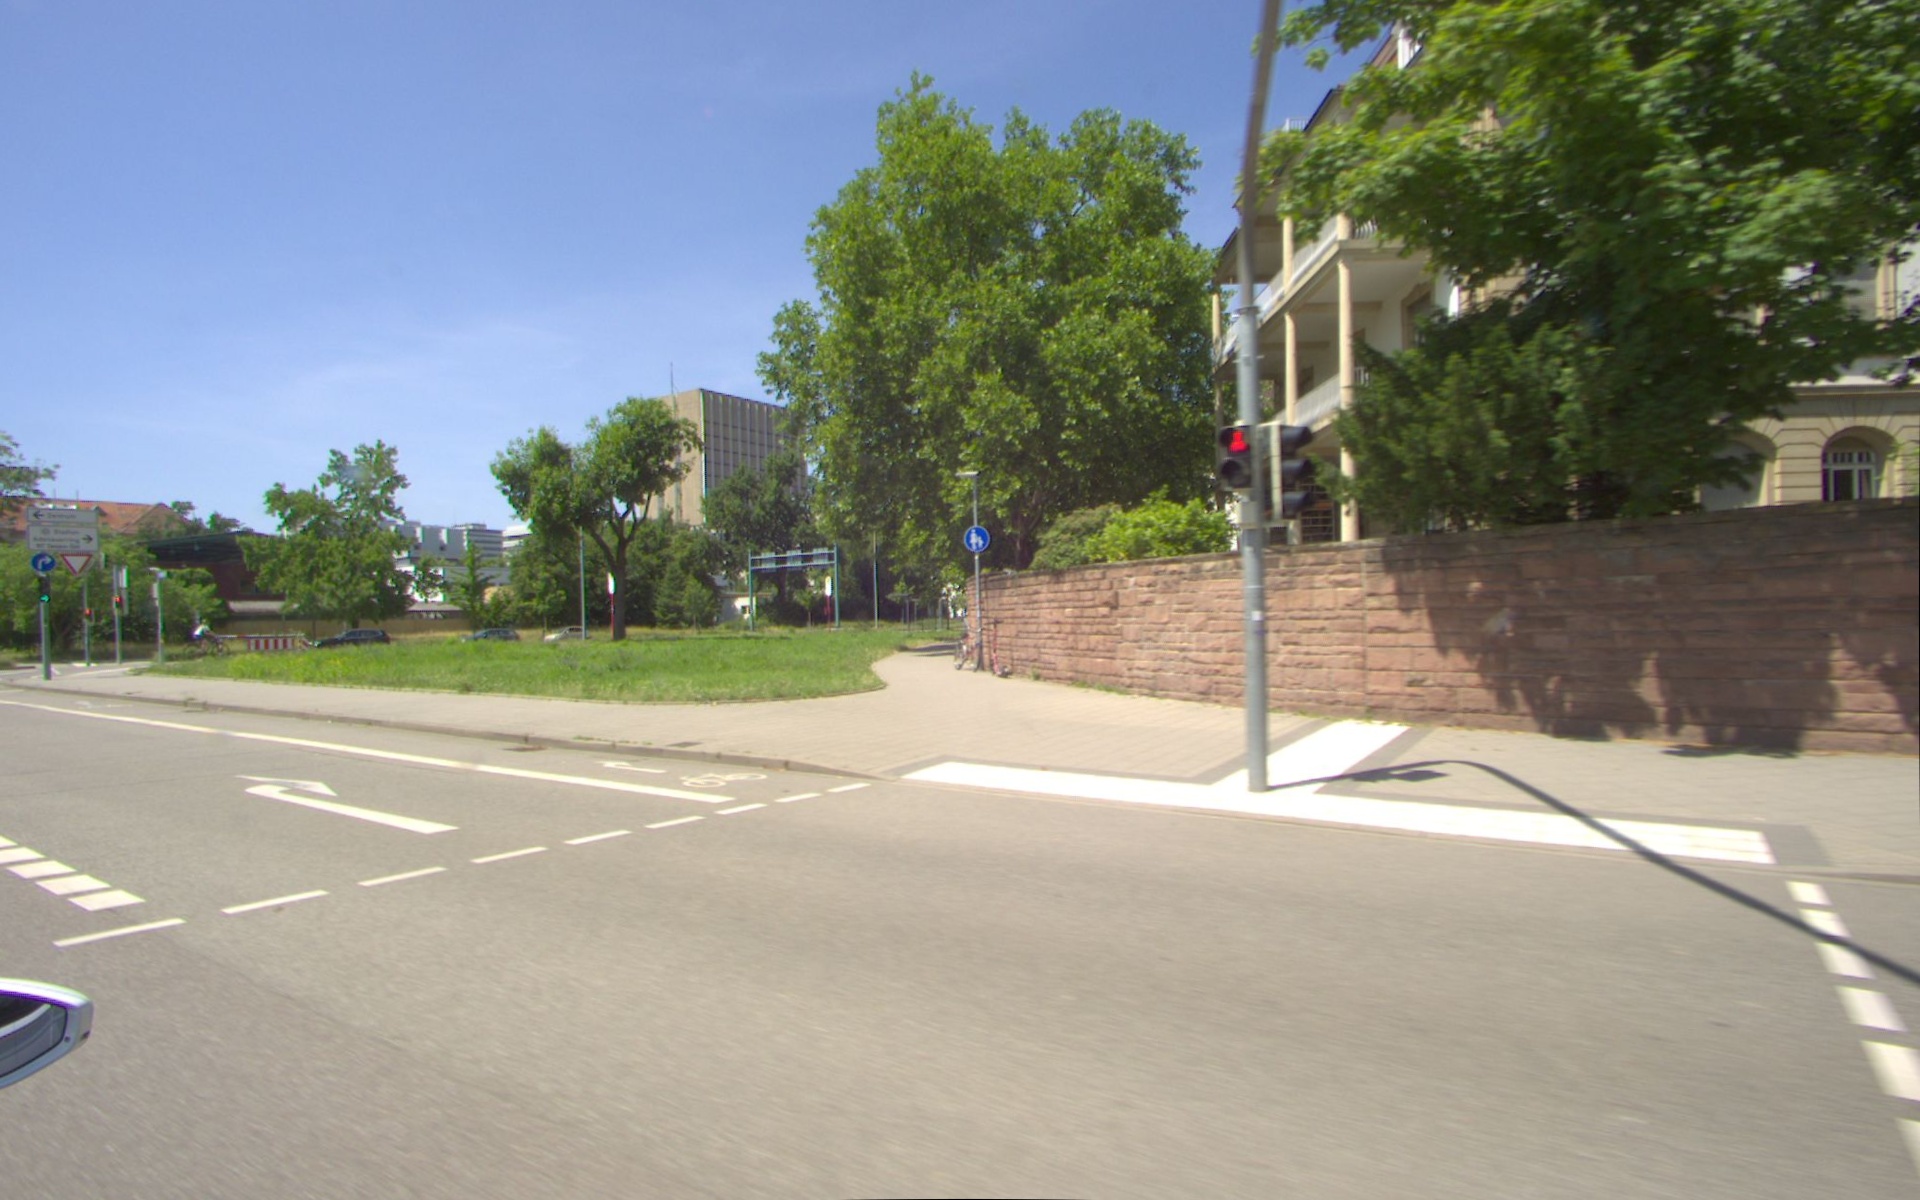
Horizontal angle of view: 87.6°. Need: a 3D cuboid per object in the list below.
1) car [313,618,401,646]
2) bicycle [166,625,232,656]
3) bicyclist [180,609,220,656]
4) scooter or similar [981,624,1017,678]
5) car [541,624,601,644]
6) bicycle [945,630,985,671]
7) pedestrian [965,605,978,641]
[{"bbox_3d":[-38.503,2.021,63.995,1.690,1.607,4.518,-2,-1,41],"label":"car"},{"bbox_3d":[-31.949,1.709,42.072,0.513,1.252,2.184,-1,-2,27],"label":"bicycle"},{"bbox_3d":[-31.888,1.373,42.031,0.698,1.910,1.135,-1,-2,27],"label":"bicyclist"},{"bbox_3d":[0.839,1.097,21.664,0.368,1.122,1.347,0,-2,-16],"label":"scooter or similar"},{"bbox_3d":[-29.485,2.596,75.958,1.736,1.457,3.978,-2,-3,34],"label":"car"},{"bbox_3d":[0.112,1.215,24.045,0.666,0.940,1.775,0,-2,-10],"label":"bicycle"},{"bbox_3d":[0.558,1.145,49.368,0.578,1.743,0.526,0,-2,11],"label":"pedestrian"}]
